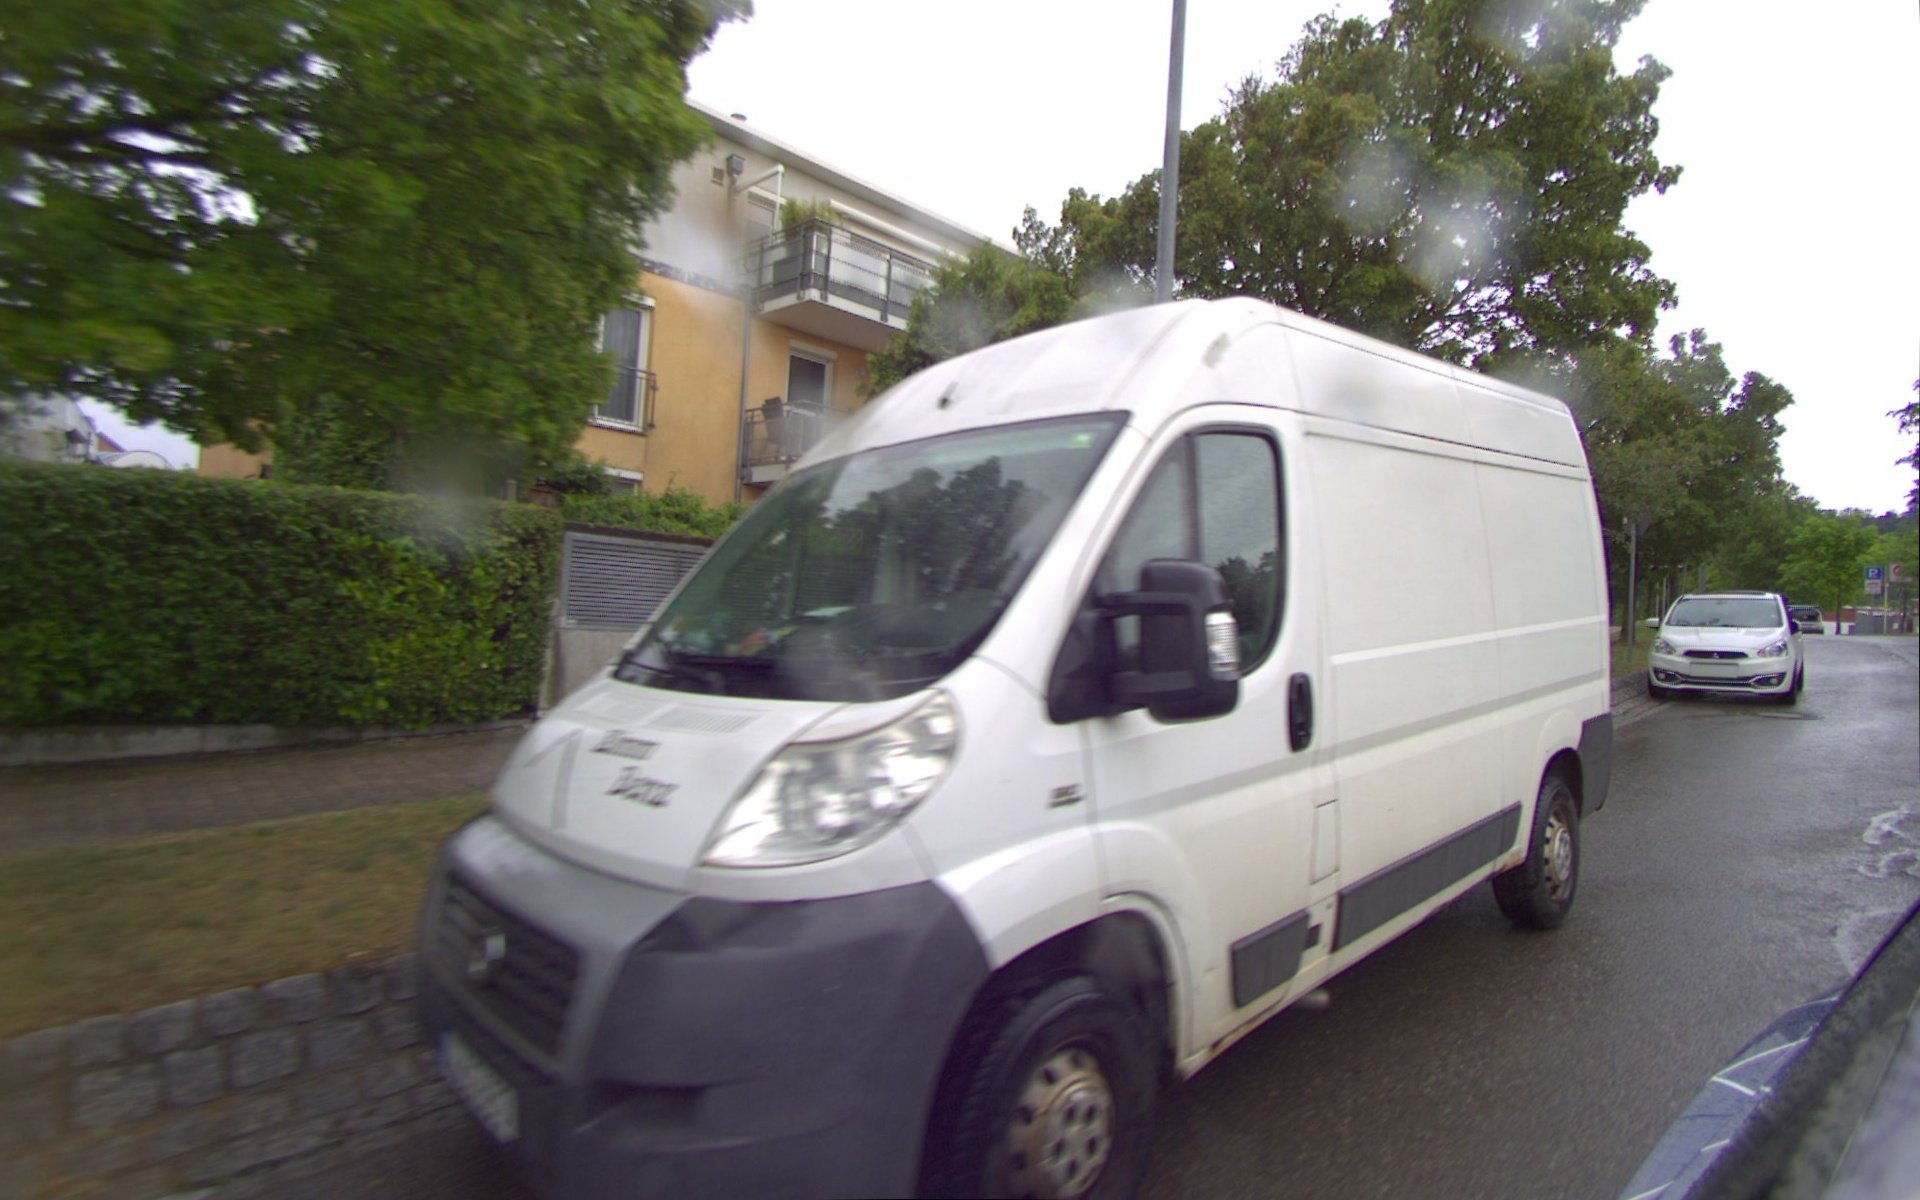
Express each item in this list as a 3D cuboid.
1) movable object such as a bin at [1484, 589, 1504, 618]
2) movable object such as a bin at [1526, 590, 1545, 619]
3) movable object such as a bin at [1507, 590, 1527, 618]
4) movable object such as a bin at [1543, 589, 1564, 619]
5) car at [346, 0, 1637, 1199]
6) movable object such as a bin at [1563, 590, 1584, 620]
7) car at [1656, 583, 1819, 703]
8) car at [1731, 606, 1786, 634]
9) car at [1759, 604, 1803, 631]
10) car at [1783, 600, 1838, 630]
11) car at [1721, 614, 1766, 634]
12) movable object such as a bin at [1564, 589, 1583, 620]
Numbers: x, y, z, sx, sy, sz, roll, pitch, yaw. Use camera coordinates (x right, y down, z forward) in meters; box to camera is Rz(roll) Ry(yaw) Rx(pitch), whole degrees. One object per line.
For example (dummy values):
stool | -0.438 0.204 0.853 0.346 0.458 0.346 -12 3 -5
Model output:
movable object such as a bin | 20.948 0.141 39.684 0.601 1.068 0.688 2 -1 34
movable object such as a bin | 22.096 0.173 38.847 0.575 1.081 0.688 2 -1 34
movable object such as a bin | 21.620 0.160 39.250 0.601 1.068 0.688 2 -1 34
movable object such as a bin | 22.174 0.147 37.796 0.594 1.086 0.688 2 -1 34
car | 0.824 0.169 4.145 5.418 2.498 2.120 -1 0 -44
movable object such as a bin | 23.121 0.200 38.139 0.598 1.088 0.688 2 -1 34
car | 11.392 0.530 14.744 1.605 1.521 3.669 0 0 42
car | 49.982 1.243 63.441 1.833 1.572 3.953 1 -2 26
car | 46.928 0.997 57.897 1.541 1.455 2.978 1 -2 31
car | 44.401 0.783 52.900 1.666 1.498 3.514 1 -1 31
car | 54.494 1.681 70.430 1.716 1.297 3.299 2 -1 25
movable object such as a bin | 22.672 0.172 37.384 0.540 1.087 0.659 2 -1 35
